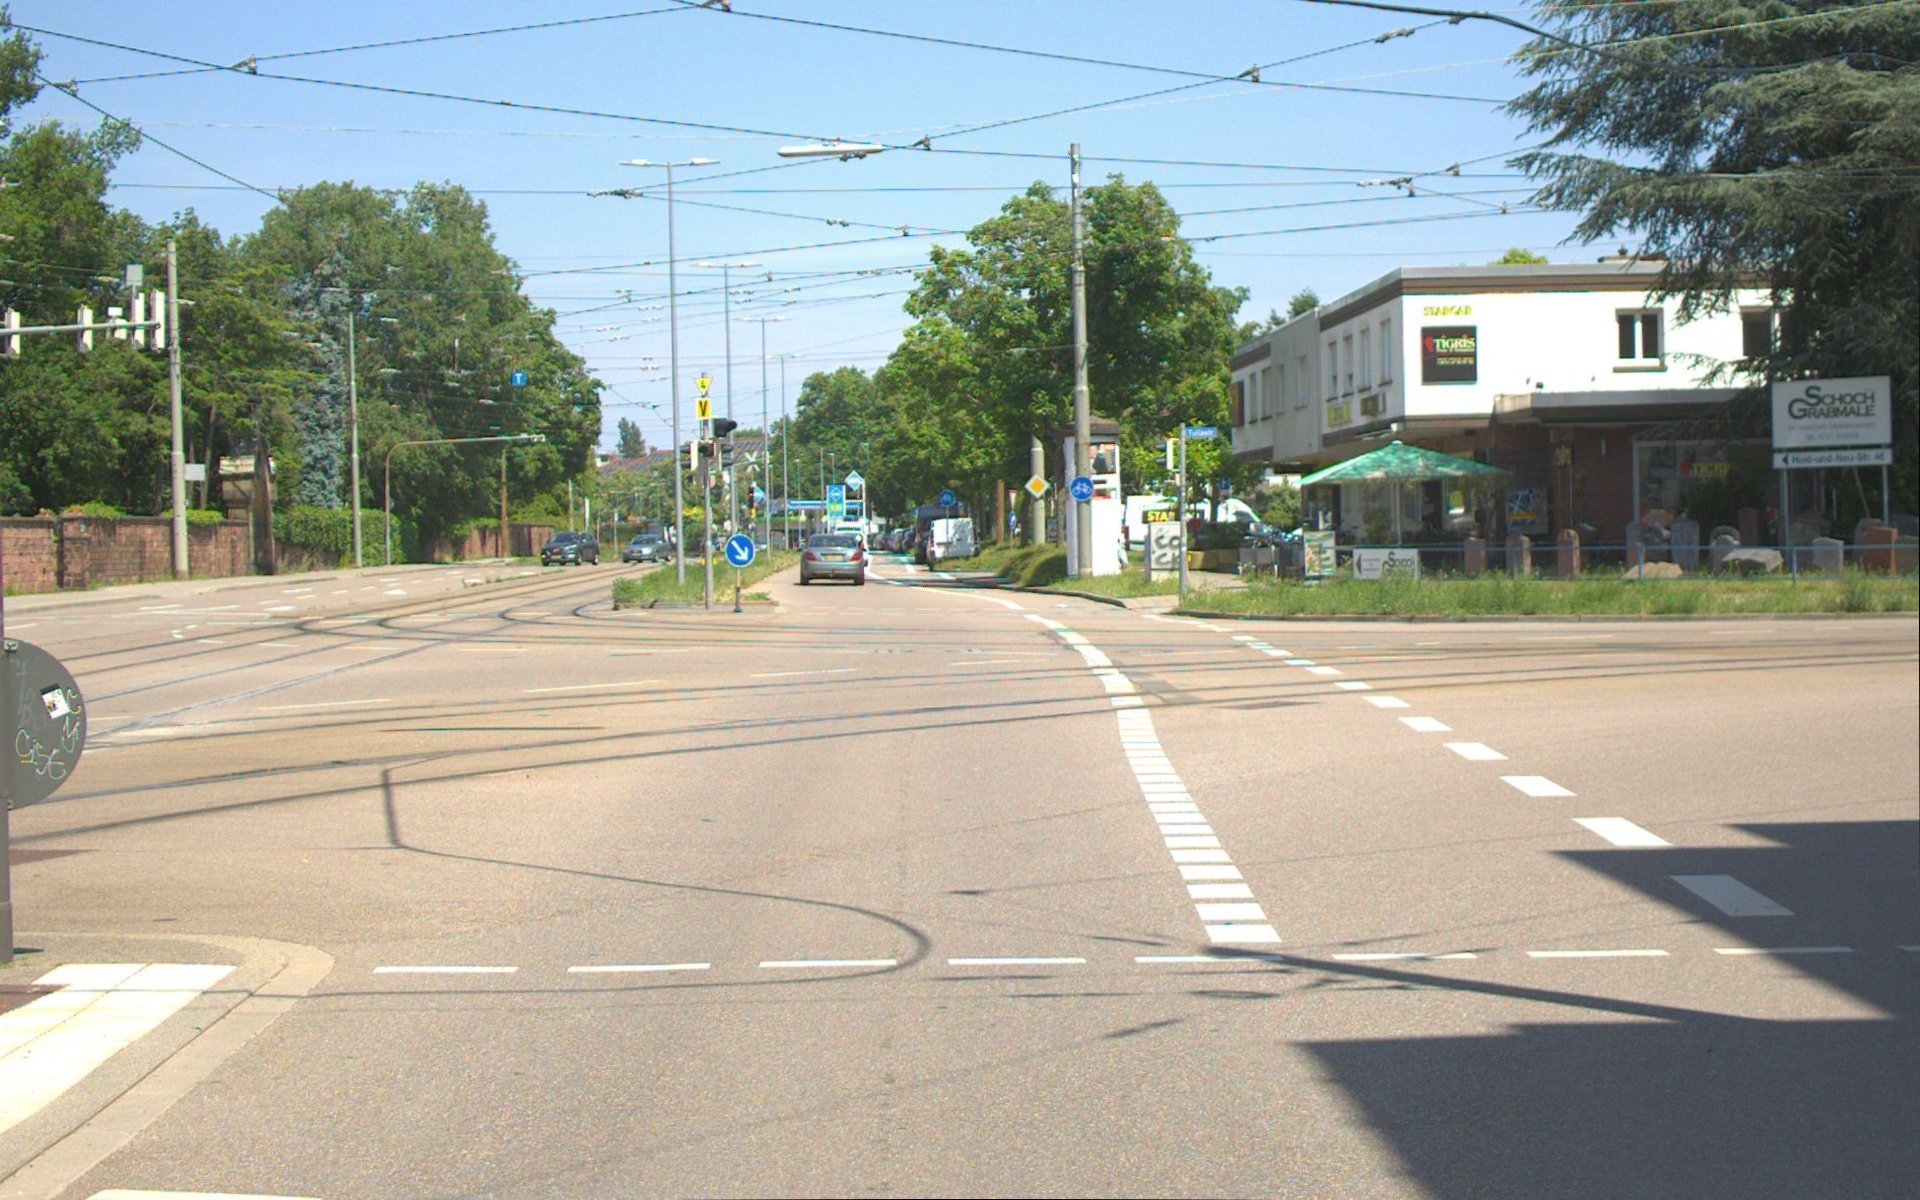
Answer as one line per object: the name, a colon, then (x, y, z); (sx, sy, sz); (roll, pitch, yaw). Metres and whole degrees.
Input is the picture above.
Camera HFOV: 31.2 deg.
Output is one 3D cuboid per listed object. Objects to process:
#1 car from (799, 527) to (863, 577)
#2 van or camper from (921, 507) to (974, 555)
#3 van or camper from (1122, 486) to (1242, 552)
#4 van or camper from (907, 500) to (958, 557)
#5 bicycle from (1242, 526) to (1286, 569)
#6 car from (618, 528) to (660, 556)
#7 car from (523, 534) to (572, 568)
car: (-3.628, -1.357, 96.240); (1.636, 1.346, 3.843); (-1, 1, -4)
van or camper: (-0.496, -2.629, 130.360); (1.922, 1.766, 4.000); (-1, 1, -1)
van or camper: (9.250, -3.367, 143.376); (4.756, 2.662, 2.136); (-1, 1, -3)
van or camper: (-1.254, -3.194, 152.825); (1.993, 2.456, 4.001); (-1, 1, -4)
bicycle: (7.475, -1.302, 84.490); (1.034, 1.011, 2.636); (-1, 1, 6)
car: (-16.524, -2.989, 177.098); (1.641, 1.416, 4.168); (-1, 1, 1)
car: (-19.895, -2.387, 166.082); (1.820, 1.598, 4.520); (-1, 1, 0)
